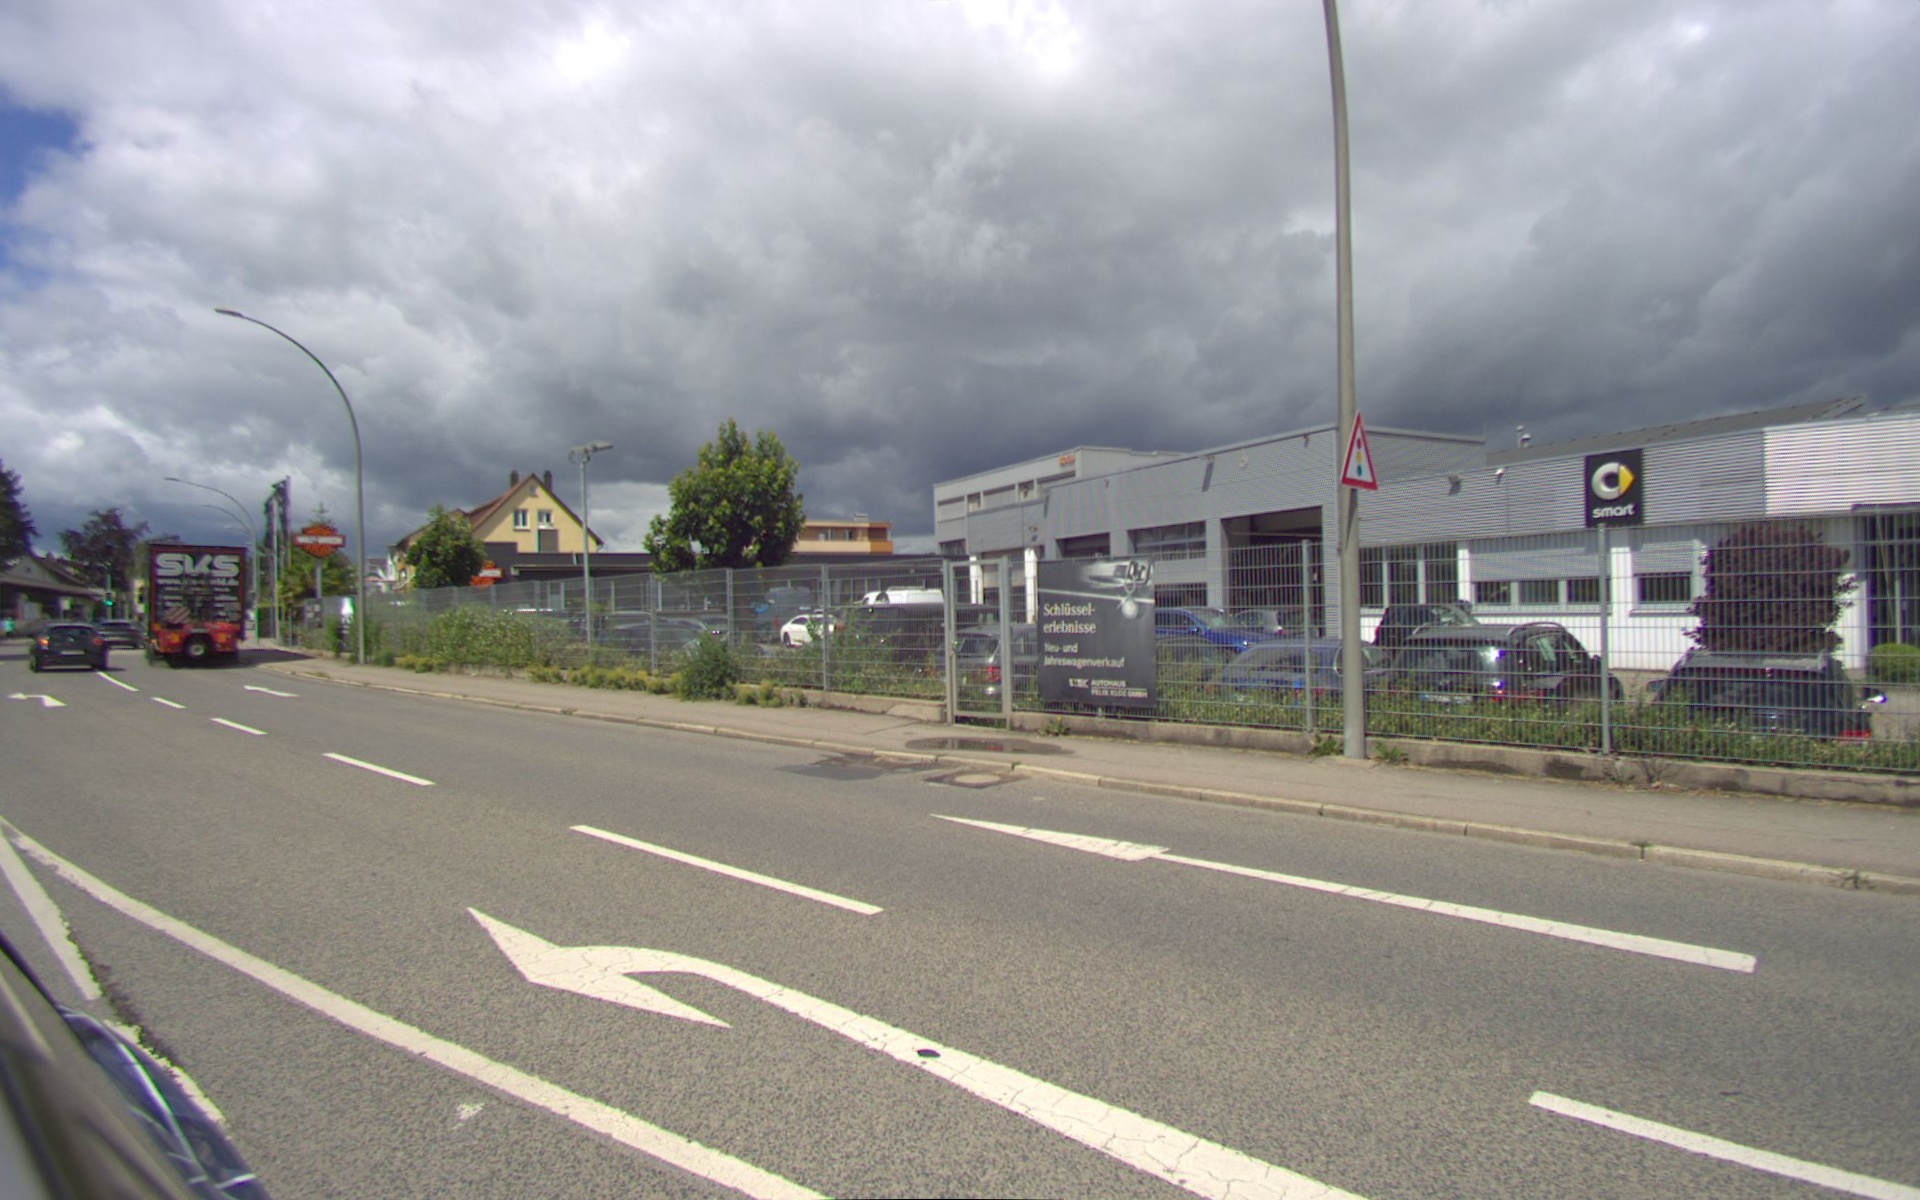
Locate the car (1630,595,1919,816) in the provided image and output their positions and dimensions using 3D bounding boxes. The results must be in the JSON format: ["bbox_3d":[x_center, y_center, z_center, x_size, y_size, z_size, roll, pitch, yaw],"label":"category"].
[{"bbox_3d":[8.135,0.823,9.901,4.034,1.678,1.797,-1,0,-44],"label":"car"}]

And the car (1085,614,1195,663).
[{"bbox_3d":[5.604,1.153,31.396,3.284,1.367,1.584,-1,0,-39],"label":"car"}]

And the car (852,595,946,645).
[{"bbox_3d":[-2.567,0.776,41.716,1.754,1.914,4.744,-1,0,-33],"label":"car"}]

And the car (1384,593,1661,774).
[{"bbox_3d":[6.627,0.809,11.747,3.851,1.713,1.793,-1,0,-45],"label":"car"}]

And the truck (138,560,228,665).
[{"bbox_3d":[-32.853,0.523,42.683,2.764,4.083,6.512,-1,0,-39],"label":"truck"}]

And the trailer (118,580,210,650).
[{"bbox_3d":[-53.444,1.001,68.383,2.733,4.176,15.397,-1,0,-30],"label":"trailer"}]

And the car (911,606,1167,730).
[{"bbox_3d":[1.388,0.998,16.639,4.142,1.713,1.927,-1,0,-44],"label":"car"}]

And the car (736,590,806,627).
[{"bbox_3d":[-8.801,0.397,46.971,1.698,1.617,4.162,-1,0,-33],"label":"car"}]

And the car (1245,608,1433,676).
[{"bbox_3d":[9.627,1.013,25.925,1.909,1.559,4.093,-1,0,-39],"label":"car"}]

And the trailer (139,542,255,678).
[{"bbox_3d":[-28.452,0.412,37.344,2.764,4.083,15.583,-1,0,-39],"label":"trailer"}]

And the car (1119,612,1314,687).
[{"bbox_3d":[5.909,1.087,23.681,1.909,1.559,4.093,-1,0,-39],"label":"car"}]

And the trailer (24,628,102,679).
[{"bbox_3d":[-27.177,1.586,30.620,1.628,1.434,4.003,1,-2,-44],"label":"trailer"}]

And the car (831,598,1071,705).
[{"bbox_3d":[-0.091,0.857,18.910,4.143,1.713,2.175,-1,0,-45],"label":"car"}]

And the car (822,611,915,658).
[{"bbox_3d":[-3.512,1.235,38.026,1.698,1.617,4.162,-1,0,-33],"label":"car"}]

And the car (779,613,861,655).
[{"bbox_3d":[-5.853,1.362,41.893,1.698,1.617,4.162,-1,0,-33],"label":"car"}]

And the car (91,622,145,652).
[{"bbox_3d":[-42.526,1.836,51.090,1.817,1.474,4.257,2,-2,-43],"label":"car"}]

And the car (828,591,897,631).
[{"bbox_3d":[-5.301,0.553,54.491,1.966,2.029,4.350,-1,0,-32],"label":"car"}]

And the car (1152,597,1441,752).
[{"bbox_3d":[4.668,0.857,13.705,2.173,1.713,4.145,-1,0,43],"label":"car"}]
